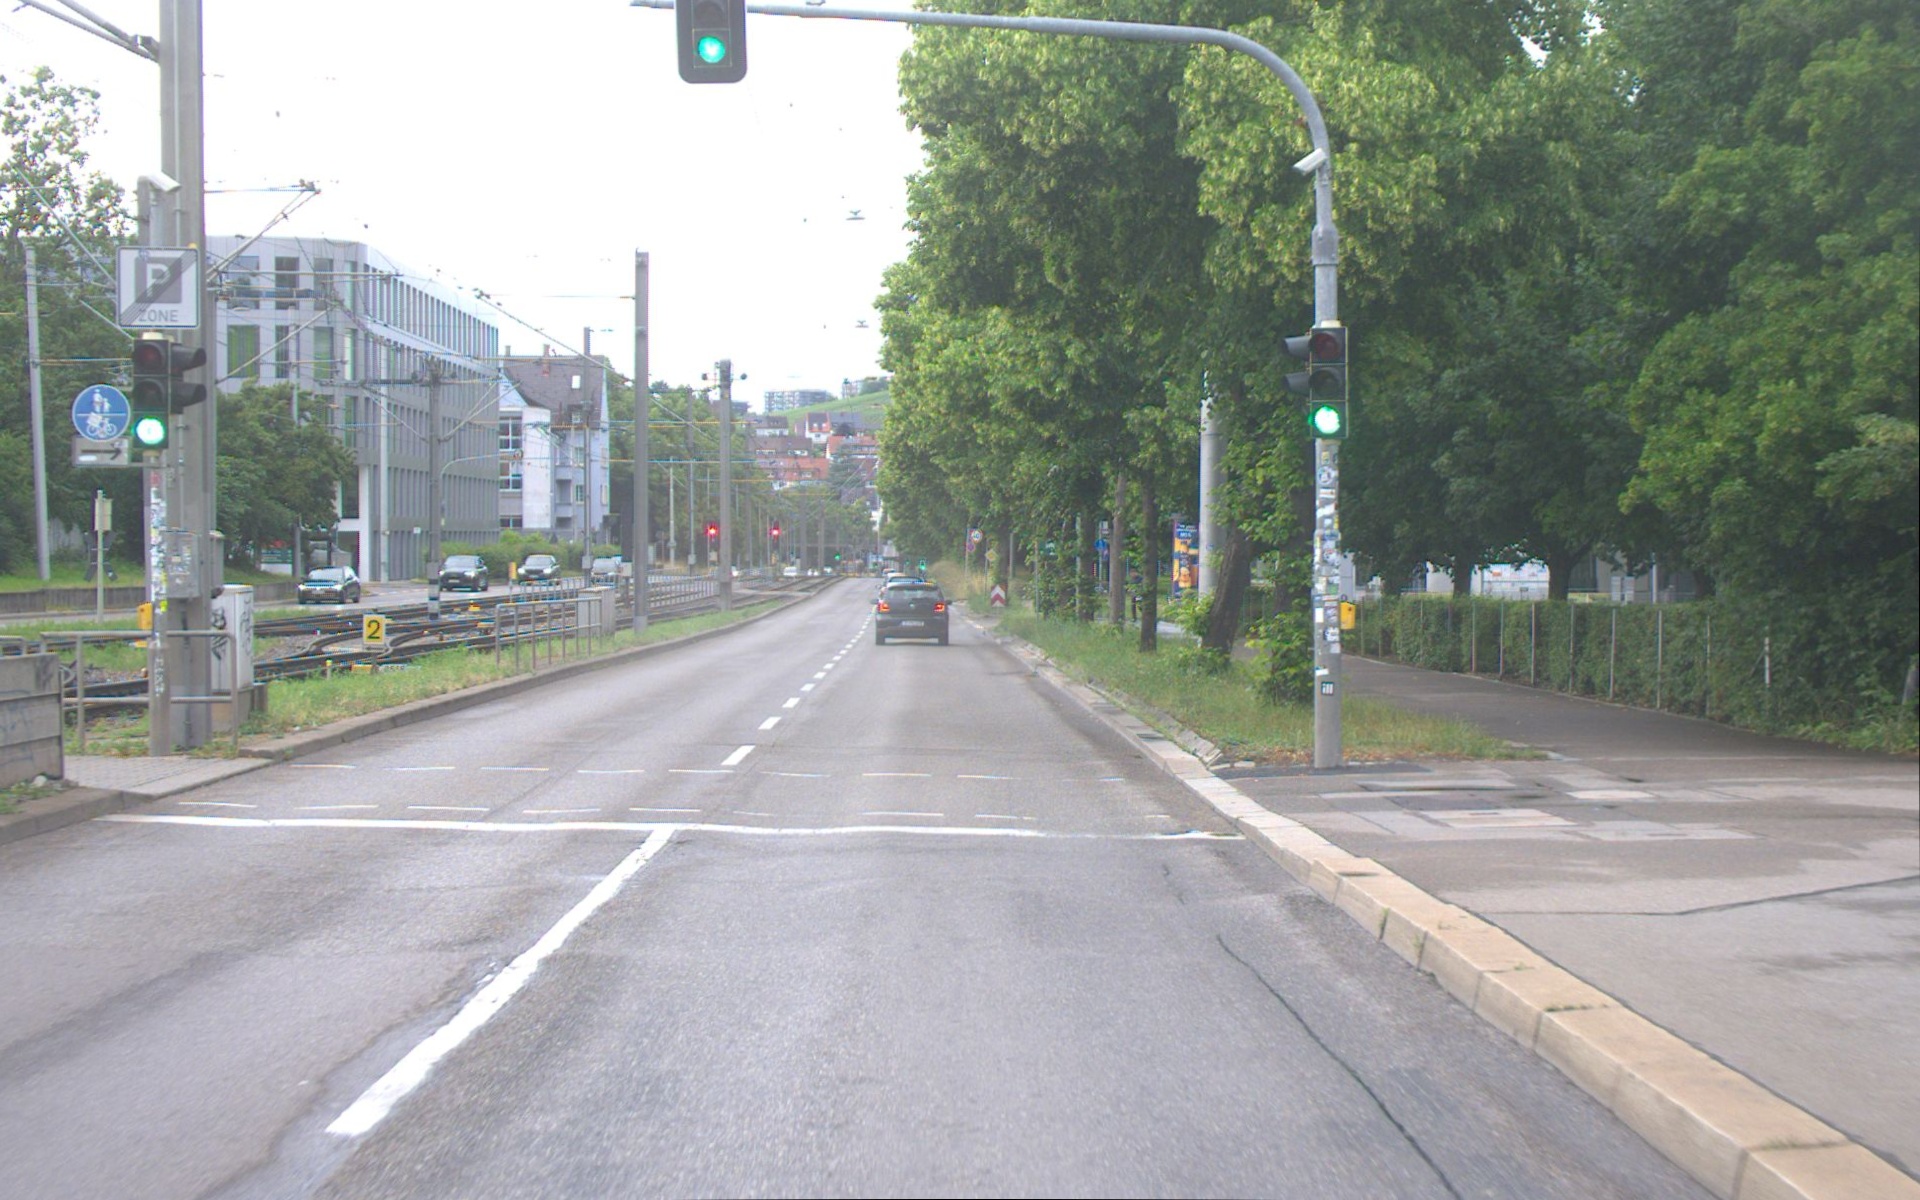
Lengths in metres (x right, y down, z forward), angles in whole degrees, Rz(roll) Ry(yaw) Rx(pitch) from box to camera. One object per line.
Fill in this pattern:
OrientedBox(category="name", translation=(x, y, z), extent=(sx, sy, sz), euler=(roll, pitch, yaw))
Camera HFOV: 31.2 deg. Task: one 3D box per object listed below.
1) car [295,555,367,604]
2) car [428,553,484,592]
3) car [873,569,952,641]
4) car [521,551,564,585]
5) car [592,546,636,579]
OrientedBox(category="car", translation=(-24.258, -0.802, 132.745), extent=(1.850, 1.626, 3.609), euler=(3, 3, 4))
OrientedBox(category="car", translation=(-23.780, -1.311, 162.289), extent=(1.850, 1.626, 3.609), euler=(3, 3, 4))
OrientedBox(category="car", translation=(-1.091, 0.097, 78.600), extent=(1.726, 1.535, 4.000), euler=(1, 1, -1))
OrientedBox(category="car", translation=(-22.860, -1.742, 188.348), extent=(1.653, 1.626, 3.609), euler=(3, 3, 4))
OrientedBox(category="car", translation=(-19.642, -2.147, 195.181), extent=(1.850, 1.626, 3.609), euler=(3, 3, 4))
